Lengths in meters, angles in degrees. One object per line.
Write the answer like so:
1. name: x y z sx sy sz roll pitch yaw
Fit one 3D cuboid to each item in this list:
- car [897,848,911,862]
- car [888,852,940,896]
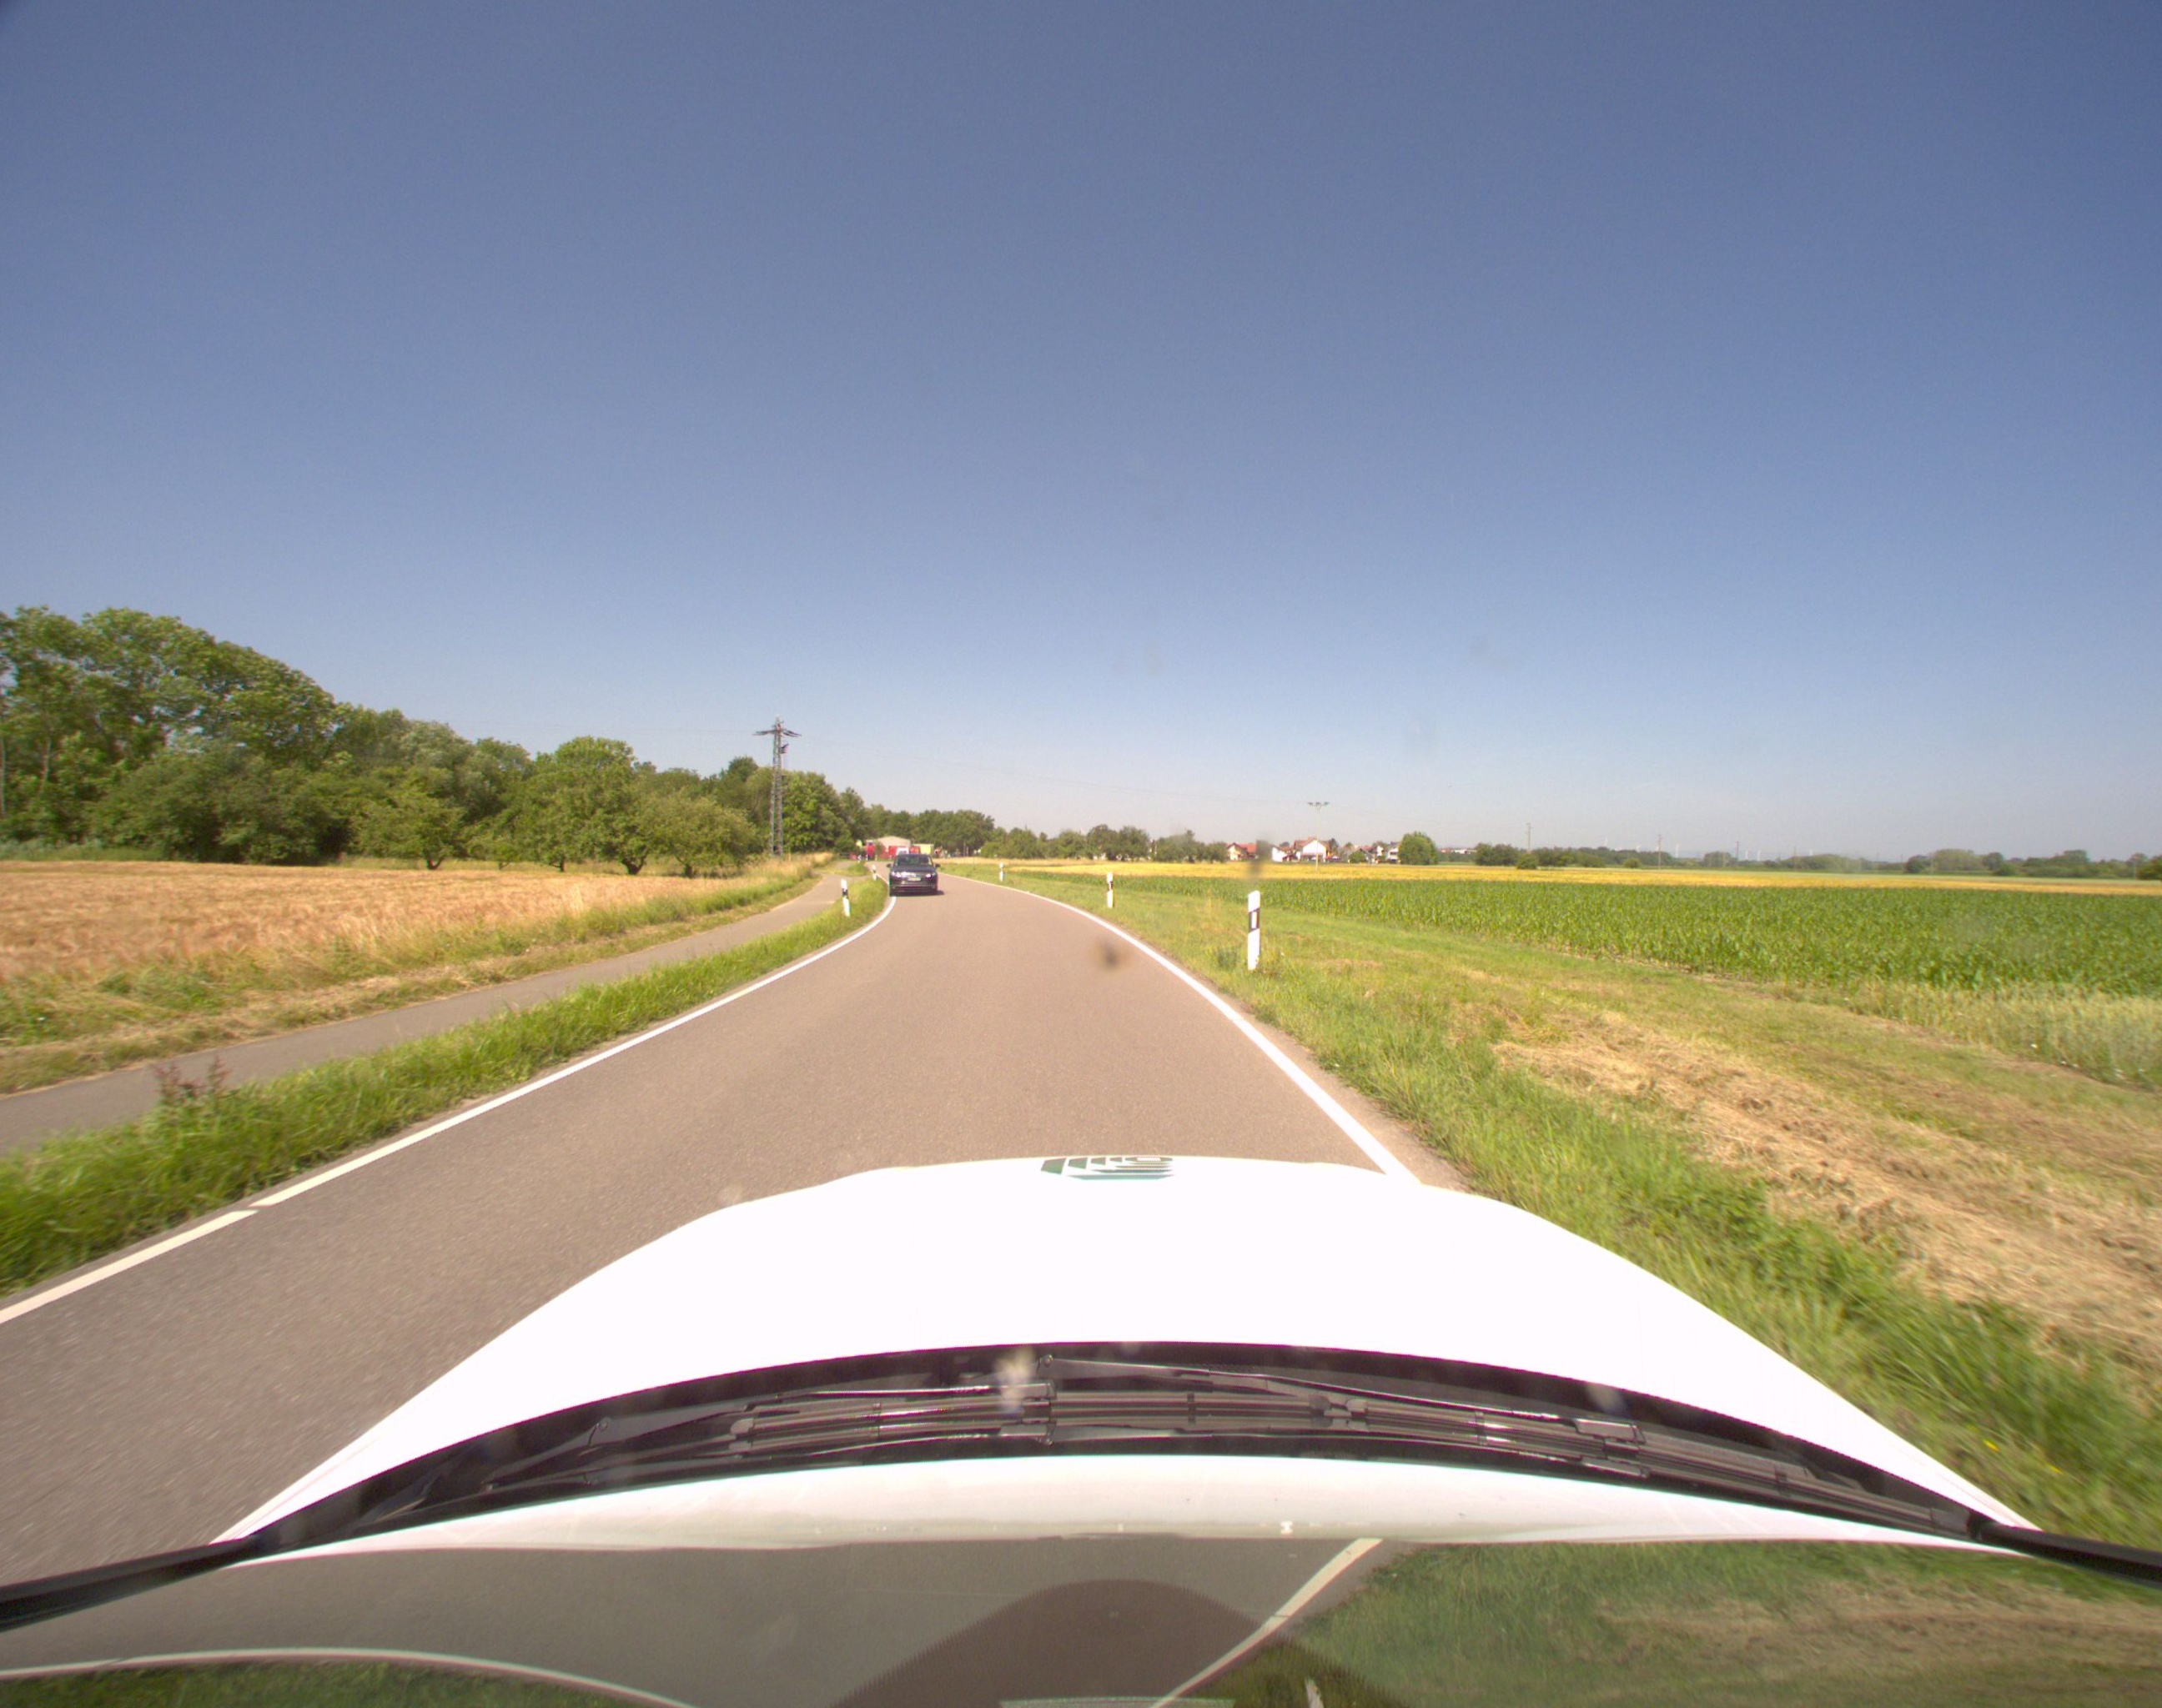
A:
1. car: -28.994 0.138 133.646 1.993 2.266 4.712 1 0 -9
2. car: -7.035 0.760 34.006 1.890 1.715 3.994 0 0 -15
